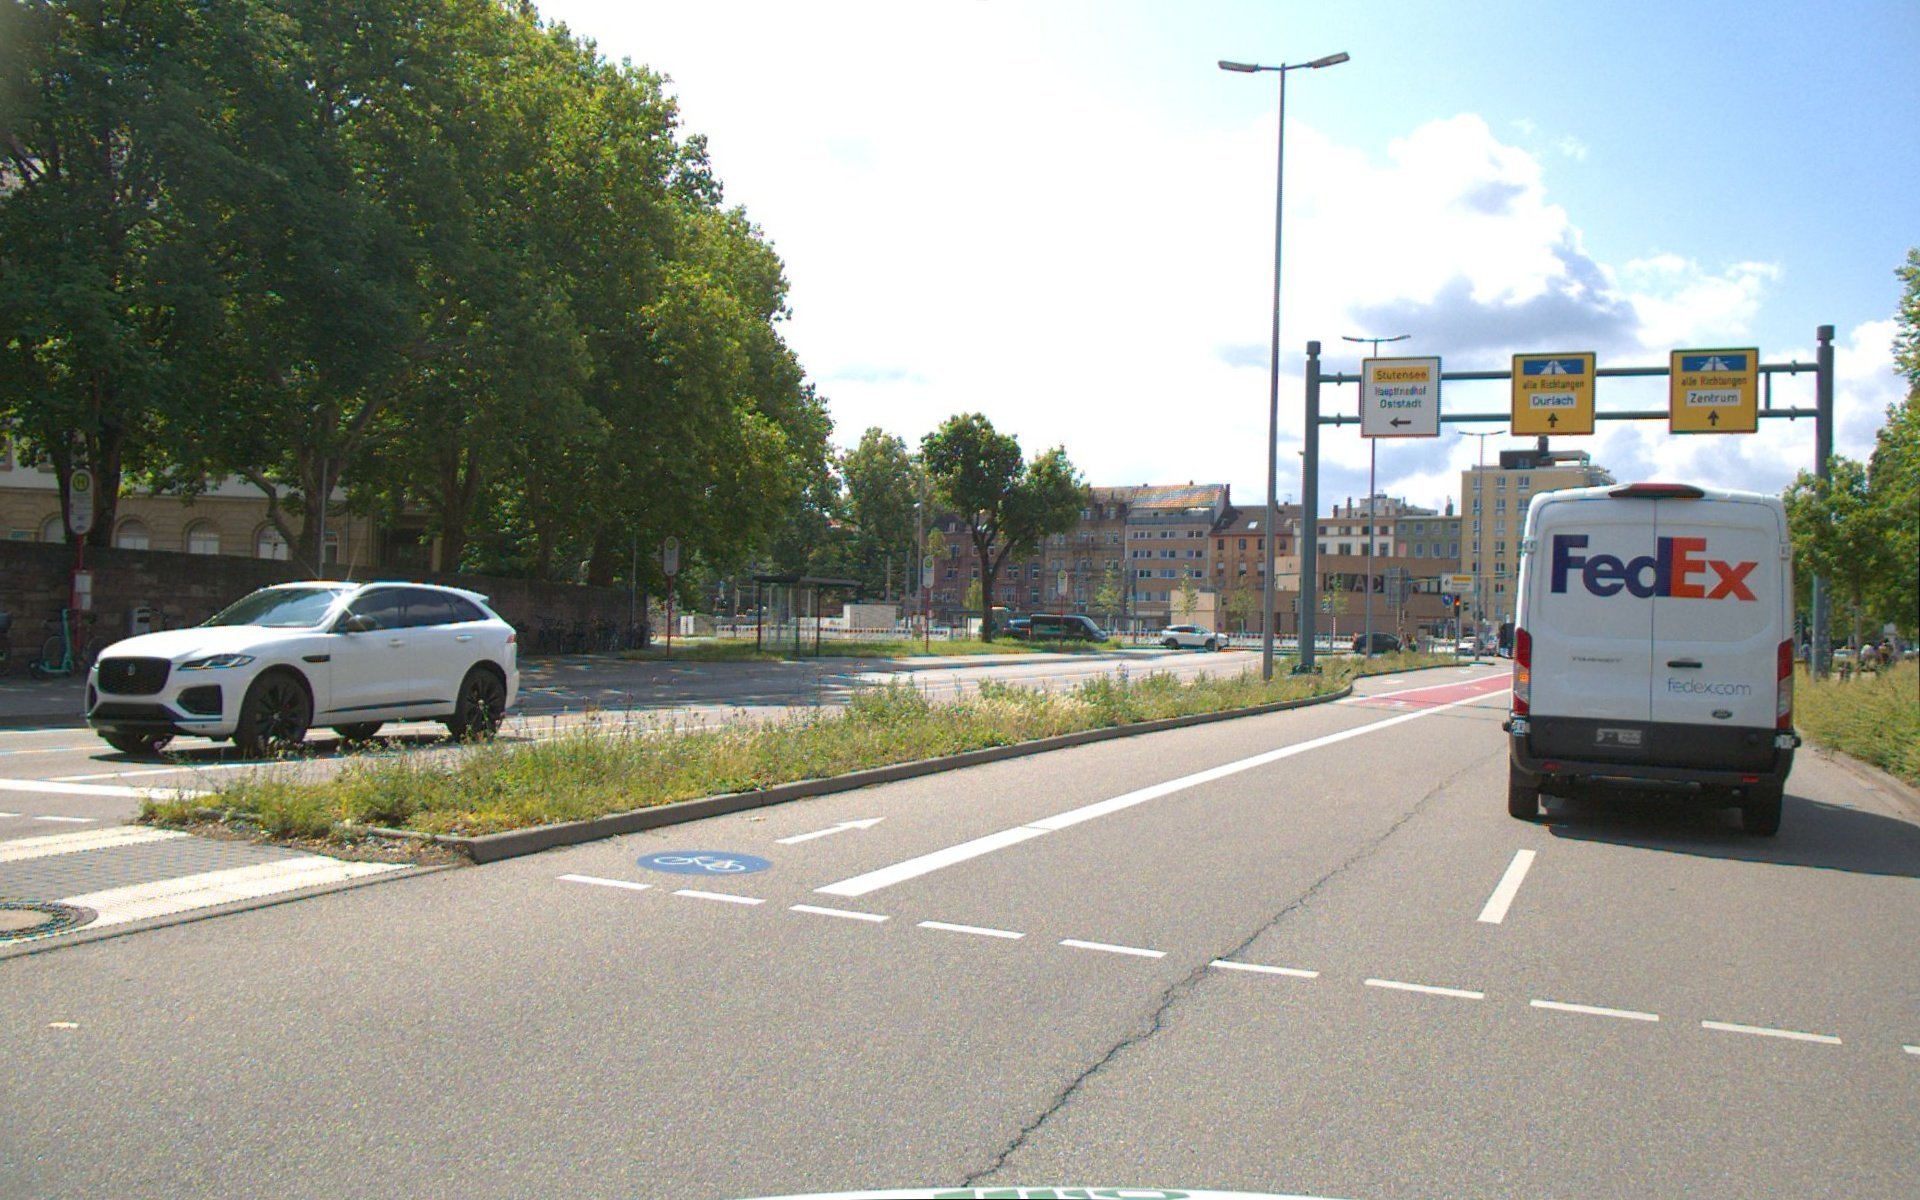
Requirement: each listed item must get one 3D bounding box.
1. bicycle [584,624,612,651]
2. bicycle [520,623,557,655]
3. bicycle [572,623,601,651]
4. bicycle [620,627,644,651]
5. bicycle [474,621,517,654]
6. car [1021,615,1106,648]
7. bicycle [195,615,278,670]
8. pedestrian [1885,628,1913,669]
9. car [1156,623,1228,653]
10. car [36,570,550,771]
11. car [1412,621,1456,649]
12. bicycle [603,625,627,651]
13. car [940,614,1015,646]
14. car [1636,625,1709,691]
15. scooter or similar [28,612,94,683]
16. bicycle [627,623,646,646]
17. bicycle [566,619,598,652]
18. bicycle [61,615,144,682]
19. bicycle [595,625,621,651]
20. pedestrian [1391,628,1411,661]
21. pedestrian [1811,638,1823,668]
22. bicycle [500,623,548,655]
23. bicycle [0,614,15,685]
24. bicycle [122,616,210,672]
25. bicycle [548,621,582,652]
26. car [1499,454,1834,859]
[{"bbox_3d":[-12.682,1.315,57.965,0.532,0.918,1.666,1,-1,2],"label":"bicycle"},{"bbox_3d":[-12.757,1.176,50.096,0.532,0.918,1.666,1,-1,7],"label":"bicycle"},{"bbox_3d":[-12.694,1.267,56.239,0.532,0.918,1.666,1,-1,2],"label":"bicycle"},{"bbox_3d":[-12.891,1.513,65.009,0.532,0.918,1.666,1,-1,2],"label":"bicycle"},{"bbox_3d":[-13.043,1.045,46.443,0.532,0.918,1.666,1,-1,7],"label":"bicycle"},{"bbox_3d":[6.473,1.972,103.140,4.904,1.912,1.929,1,-1,19],"label":"car"},{"bbox_3d":[-14.677,0.855,33.625,0.532,1.066,1.951,1,-1,10],"label":"bicycle"},{"bbox_3d":[36.371,1.868,64.094,0.827,1.566,0.835,1,-1,22],"label":"pedestrian"},{"bbox_3d":[14.868,2.441,105.875,4.266,1.825,2.001,1,-1,18],"label":"car"},{"bbox_3d":[-6.449,0.625,16.692,2.029,1.696,4.773,1,-1,23],"label":"car"},{"bbox_3d":[36.039,2.652,125.789,1.960,2.049,3.984,0,-2,36],"label":"car"},{"bbox_3d":[-12.817,1.398,61.446,0.442,0.918,1.794,1,-1,2],"label":"bicycle"},{"bbox_3d":[1.168,2.008,110.168,4.531,2.049,2.100,1,-1,18],"label":"car"},{"bbox_3d":[20.582,1.628,47.881,1.775,1.764,4.388,2,0,22],"label":"car"},{"bbox_3d":[-15.112,0.786,27.827,0.423,1.172,1.193,1,-1,1],"label":"scooter or similar"},{"bbox_3d":[-13.119,1.404,67.084,0.533,0.918,1.664,1,-1,-3],"label":"bicycle"},{"bbox_3d":[-12.463,1.153,54.545,0.532,1.070,1.625,1,-1,5],"label":"bicycle"},{"bbox_3d":[-15.444,0.860,29.814,0.422,1.163,1.595,1,-1,10],"label":"bicycle"},{"bbox_3d":[-12.693,1.372,59.663,0.532,0.918,1.666,1,-1,2],"label":"bicycle"},{"bbox_3d":[21.894,2.204,82.120,0.855,1.587,0.555,1,-1,-3],"label":"pedestrian"},{"bbox_3d":[37.124,2.306,71.653,0.350,1.282,0.392,1,-2,15],"label":"pedestrian"},{"bbox_3d":[-12.685,1.132,48.181,0.491,0.918,1.666,1,-1,18],"label":"bicycle"},{"bbox_3d":[-15.990,0.804,26.696,0.521,1.172,1.594,1,-1,0],"label":"bicycle"},{"bbox_3d":[-15.103,0.827,31.513,0.470,1.026,1.803,1,-1,13],"label":"bicycle"},{"bbox_3d":[-12.628,1.163,52.857,0.532,0.968,1.666,1,-1,5],"label":"bicycle"},{"bbox_3d":[5.812,0.399,14.052,2.096,2.699,5.704,1,-1,20],"label":"car"}]
